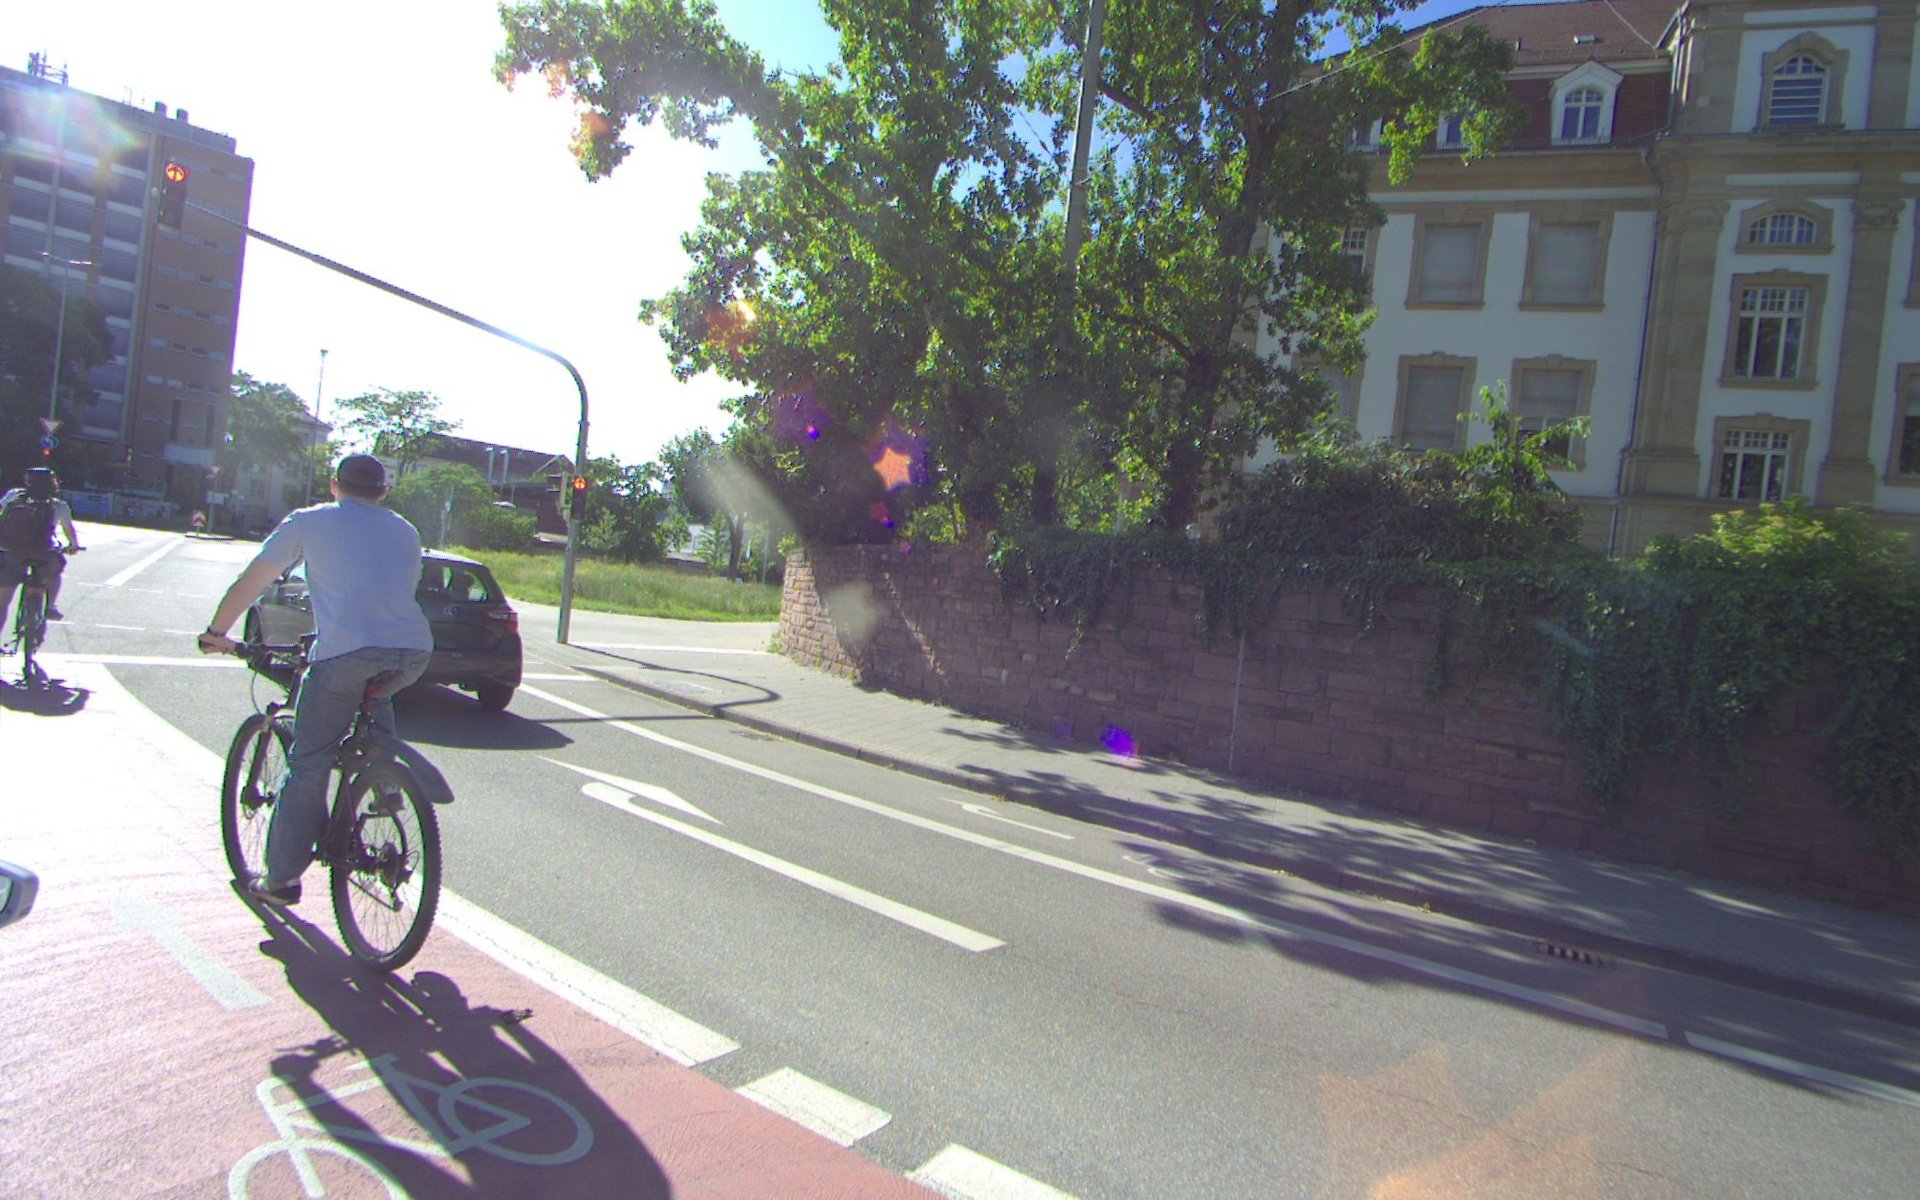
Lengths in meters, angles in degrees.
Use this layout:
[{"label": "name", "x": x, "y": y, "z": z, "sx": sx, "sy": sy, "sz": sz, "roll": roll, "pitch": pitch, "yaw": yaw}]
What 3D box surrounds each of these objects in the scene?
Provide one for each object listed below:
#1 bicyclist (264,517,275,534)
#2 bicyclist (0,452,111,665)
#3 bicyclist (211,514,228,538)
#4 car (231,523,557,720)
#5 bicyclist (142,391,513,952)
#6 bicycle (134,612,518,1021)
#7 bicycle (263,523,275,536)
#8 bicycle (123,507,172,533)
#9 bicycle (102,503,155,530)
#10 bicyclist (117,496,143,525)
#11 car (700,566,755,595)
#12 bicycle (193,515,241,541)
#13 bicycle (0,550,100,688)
[{"label": "bicyclist", "x": -65.016, "y": -7.012, "z": 94.716, "sx": 0.613, "sy": 1.462, "sz": 0.813, "roll": 6, "pitch": 1, "yaw": -28}, {"label": "bicyclist", "x": -7.836, "y": -0.355, "z": 8.560, "sx": 0.720, "sy": 1.645, "sz": 1.042, "roll": 8, "pitch": -1, "yaw": -44}, {"label": "bicyclist", "x": -57.530, "y": -5.756, "z": 78.115, "sx": 0.852, "sy": 1.712, "sz": 0.877, "roll": 7, "pitch": -1, "yaw": -33}, {"label": "car", "x": -5.949, "y": 0.170, "z": 10.424, "sx": 3.608, "sy": 1.560, "sz": 1.754, "roll": 6, "pitch": -1, "yaw": 42}, {"label": "bicyclist", "x": -2.399, "y": 0.223, "z": 3.811, "sx": 0.999, "sy": 1.797, "sz": 0.749, "roll": 7, "pitch": 0, "yaw": 39}, {"label": "bicycle", "x": -2.500, "y": 0.693, "z": 3.865, "sx": 1.803, "sy": 1.090, "sz": 0.610, "roll": 6, "pitch": 0, "yaw": 39}, {"label": "bicycle", "x": -65.068, "y": -6.650, "z": 94.726, "sx": 0.603, "sy": 1.106, "sz": 1.660, "roll": 6, "pitch": 1, "yaw": -27}, {"label": "bicycle", "x": -62.063, "y": -6.110, "z": 76.848, "sx": 2.792, "sy": 1.559, "sz": 0.874, "roll": 8, "pitch": -2, "yaw": -42}, {"label": "bicycle", "x": -60.978, "y": -6.103, "z": 73.829, "sx": 2.784, "sy": 1.559, "sz": 0.877, "roll": 8, "pitch": -2, "yaw": -34}, {"label": "bicyclist", "x": -60.917, "y": -6.530, "z": 73.829, "sx": 1.199, "sy": 1.919, "sz": 0.877, "roll": 7, "pitch": -1, "yaw": -33}, {"label": "car", "x": -20.807, "y": -1.745, "z": 89.931, "sx": 4.310, "sy": 2.037, "sz": 1.988, "roll": 7, "pitch": -2, "yaw": -27}, {"label": "bicycle", "x": -57.648, "y": -5.560, "z": 78.079, "sx": 2.784, "sy": 1.559, "sz": 0.877, "roll": 8, "pitch": -2, "yaw": -34}, {"label": "bicycle", "x": -7.967, "y": 0.124, "z": 8.622, "sx": 0.721, "sy": 0.971, "sz": 1.860, "roll": 8, "pitch": -1, "yaw": -44}]
